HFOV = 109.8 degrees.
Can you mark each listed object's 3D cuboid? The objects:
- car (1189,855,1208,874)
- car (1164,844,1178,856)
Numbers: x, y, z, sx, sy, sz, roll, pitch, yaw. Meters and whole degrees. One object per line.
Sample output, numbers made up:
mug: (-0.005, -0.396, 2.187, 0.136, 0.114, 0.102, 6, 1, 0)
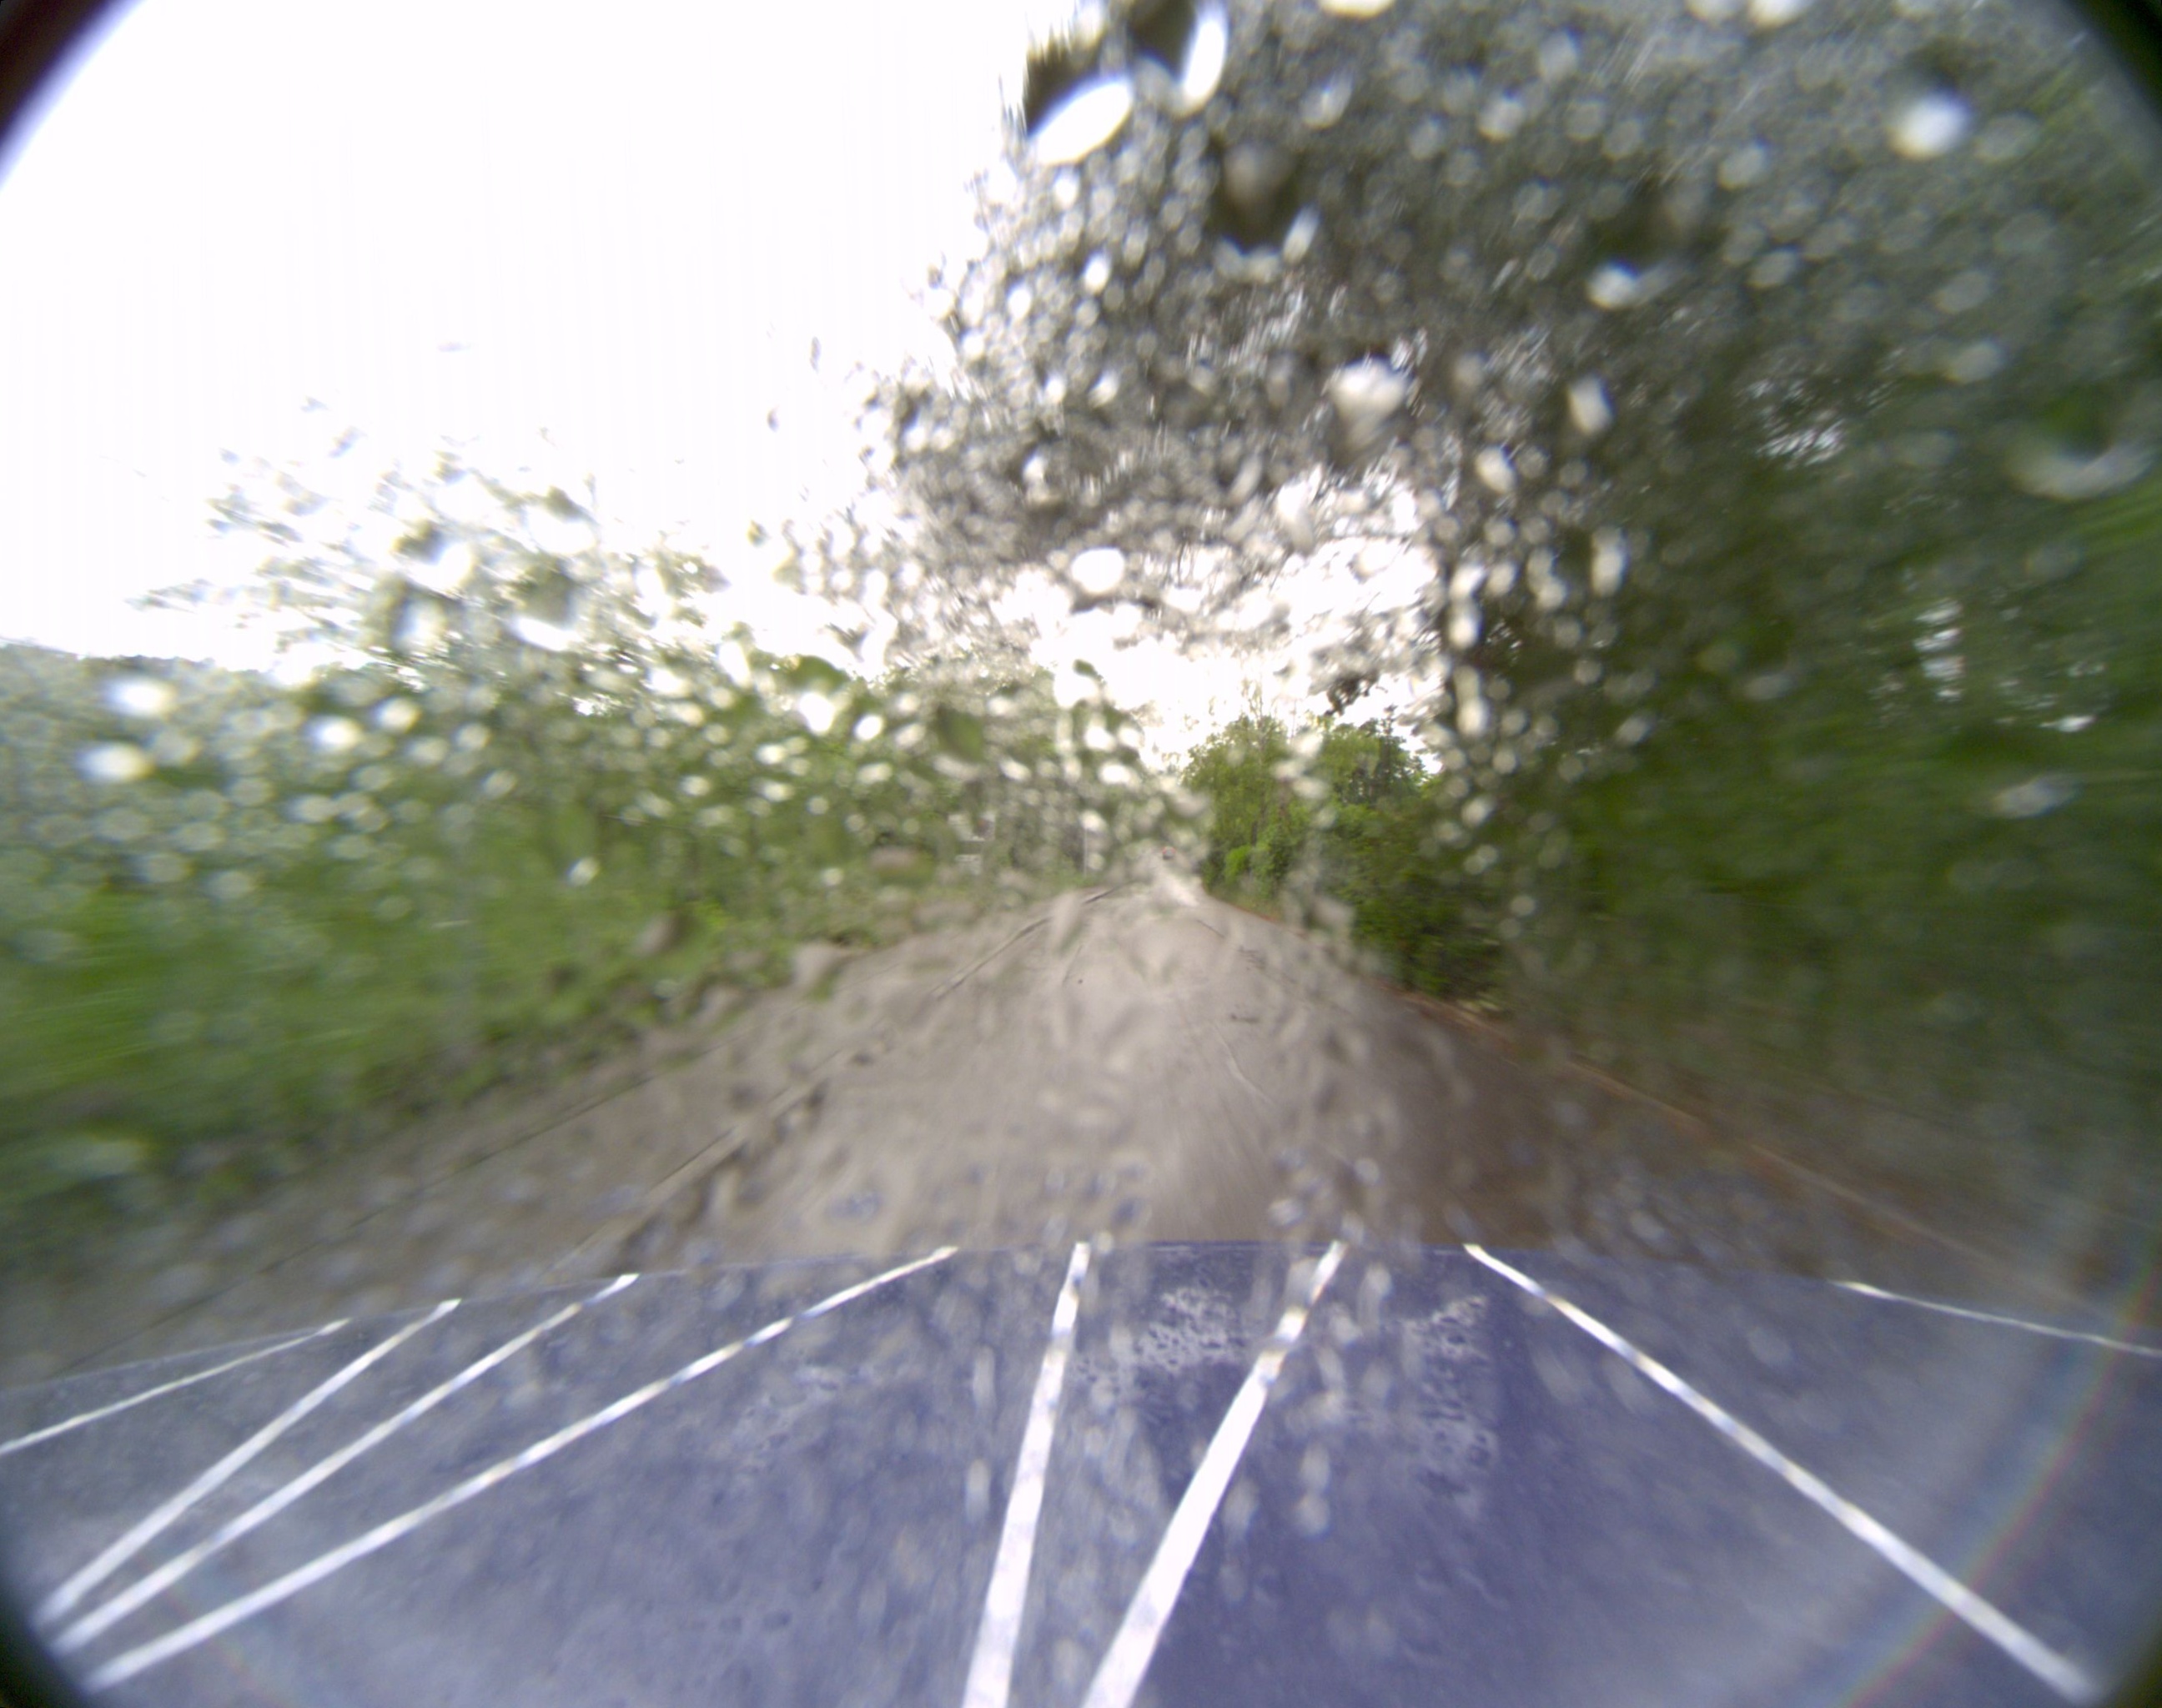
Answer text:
car: (11.239, 0.961, 72.818, 1.689, 1.717, 4.070, 2, 0, 7)
car: (13.431, -0.626, 113.636, 1.927, 1.611, 4.464, -2, -1, 4)
